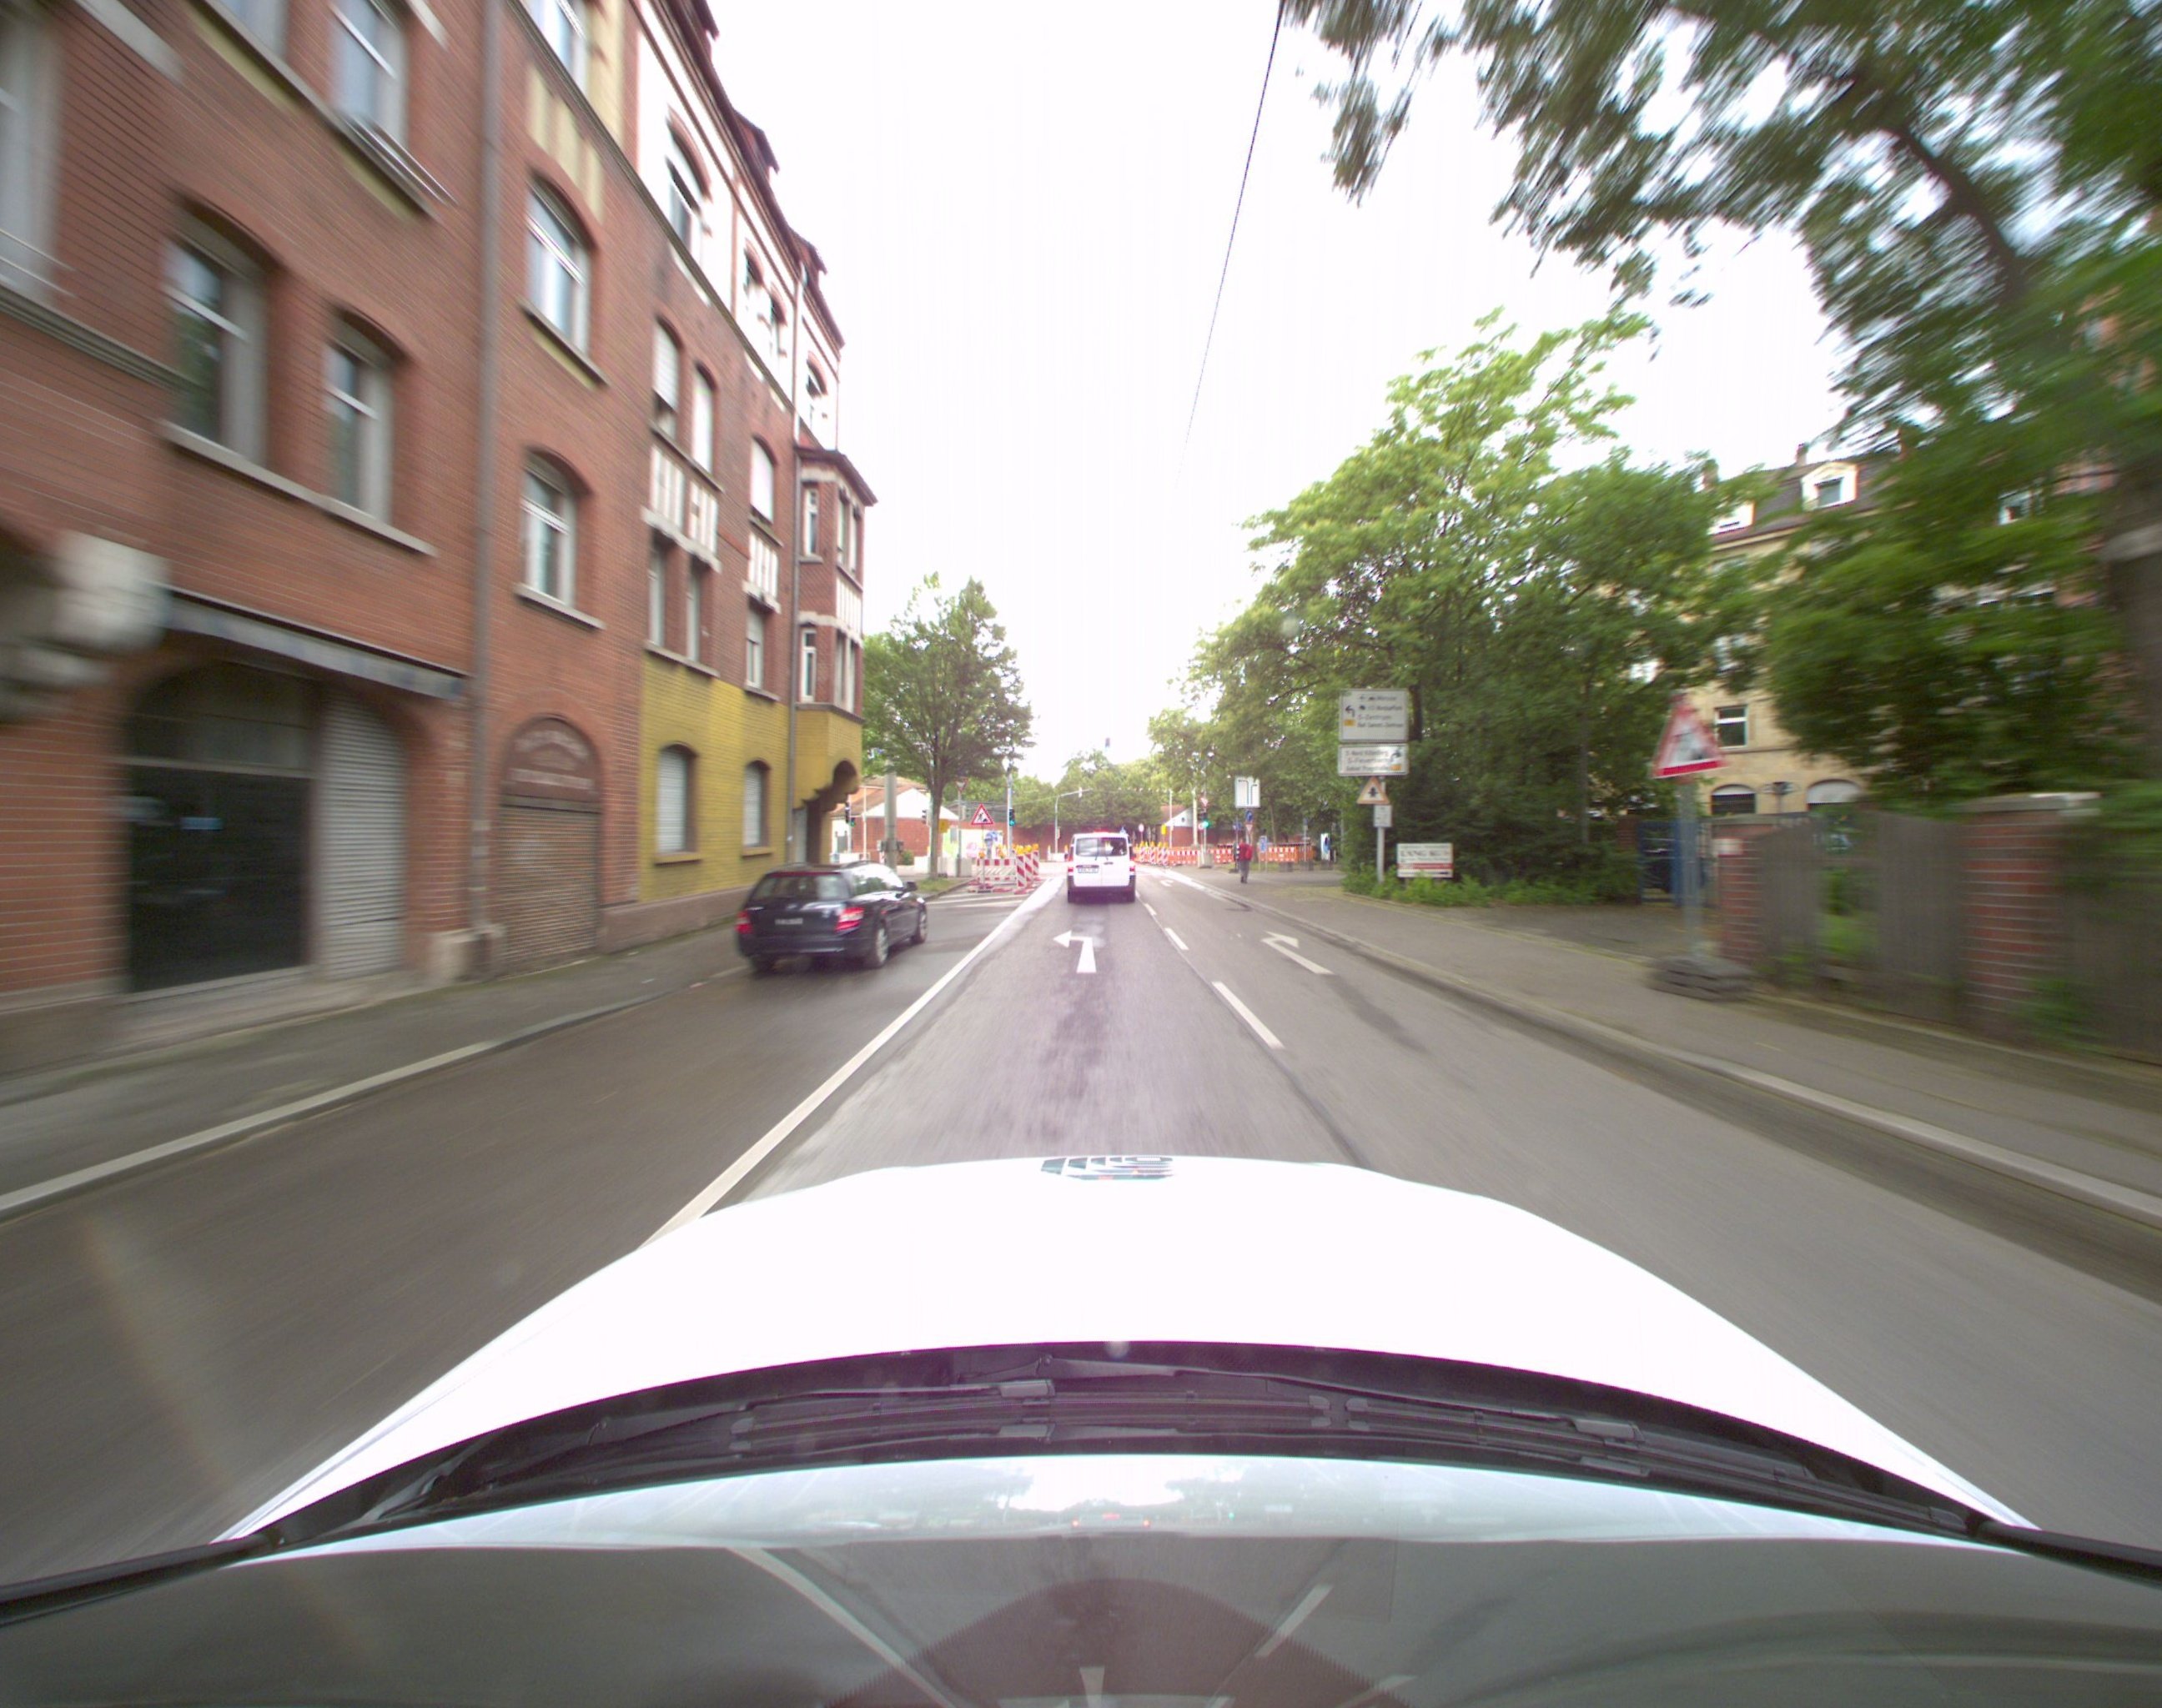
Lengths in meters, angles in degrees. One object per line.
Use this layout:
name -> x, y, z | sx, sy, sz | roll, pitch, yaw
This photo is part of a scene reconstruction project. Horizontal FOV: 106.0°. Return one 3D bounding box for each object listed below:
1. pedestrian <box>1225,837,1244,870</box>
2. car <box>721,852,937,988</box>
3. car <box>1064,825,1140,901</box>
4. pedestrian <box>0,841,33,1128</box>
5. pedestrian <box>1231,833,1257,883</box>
pedestrian -> 8.083, -0.051, 42.802 | 0.730, 1.697, 0.835 | -2, 1, -8
car -> -3.479, 0.802, 12.171 | 1.718, 1.485, 4.393 | 1, 2, 2
car -> 0.584, 0.307, 23.584 | 1.911, 1.902, 4.701 | 3, -2, 1
pedestrian -> -6.384, 0.728, 4.371 | 0.657, 1.609, 0.633 | 2, 1, 1
pedestrian -> 6.141, 0.134, 30.710 | 0.776, 1.831, 0.728 | -3, 1, 1
